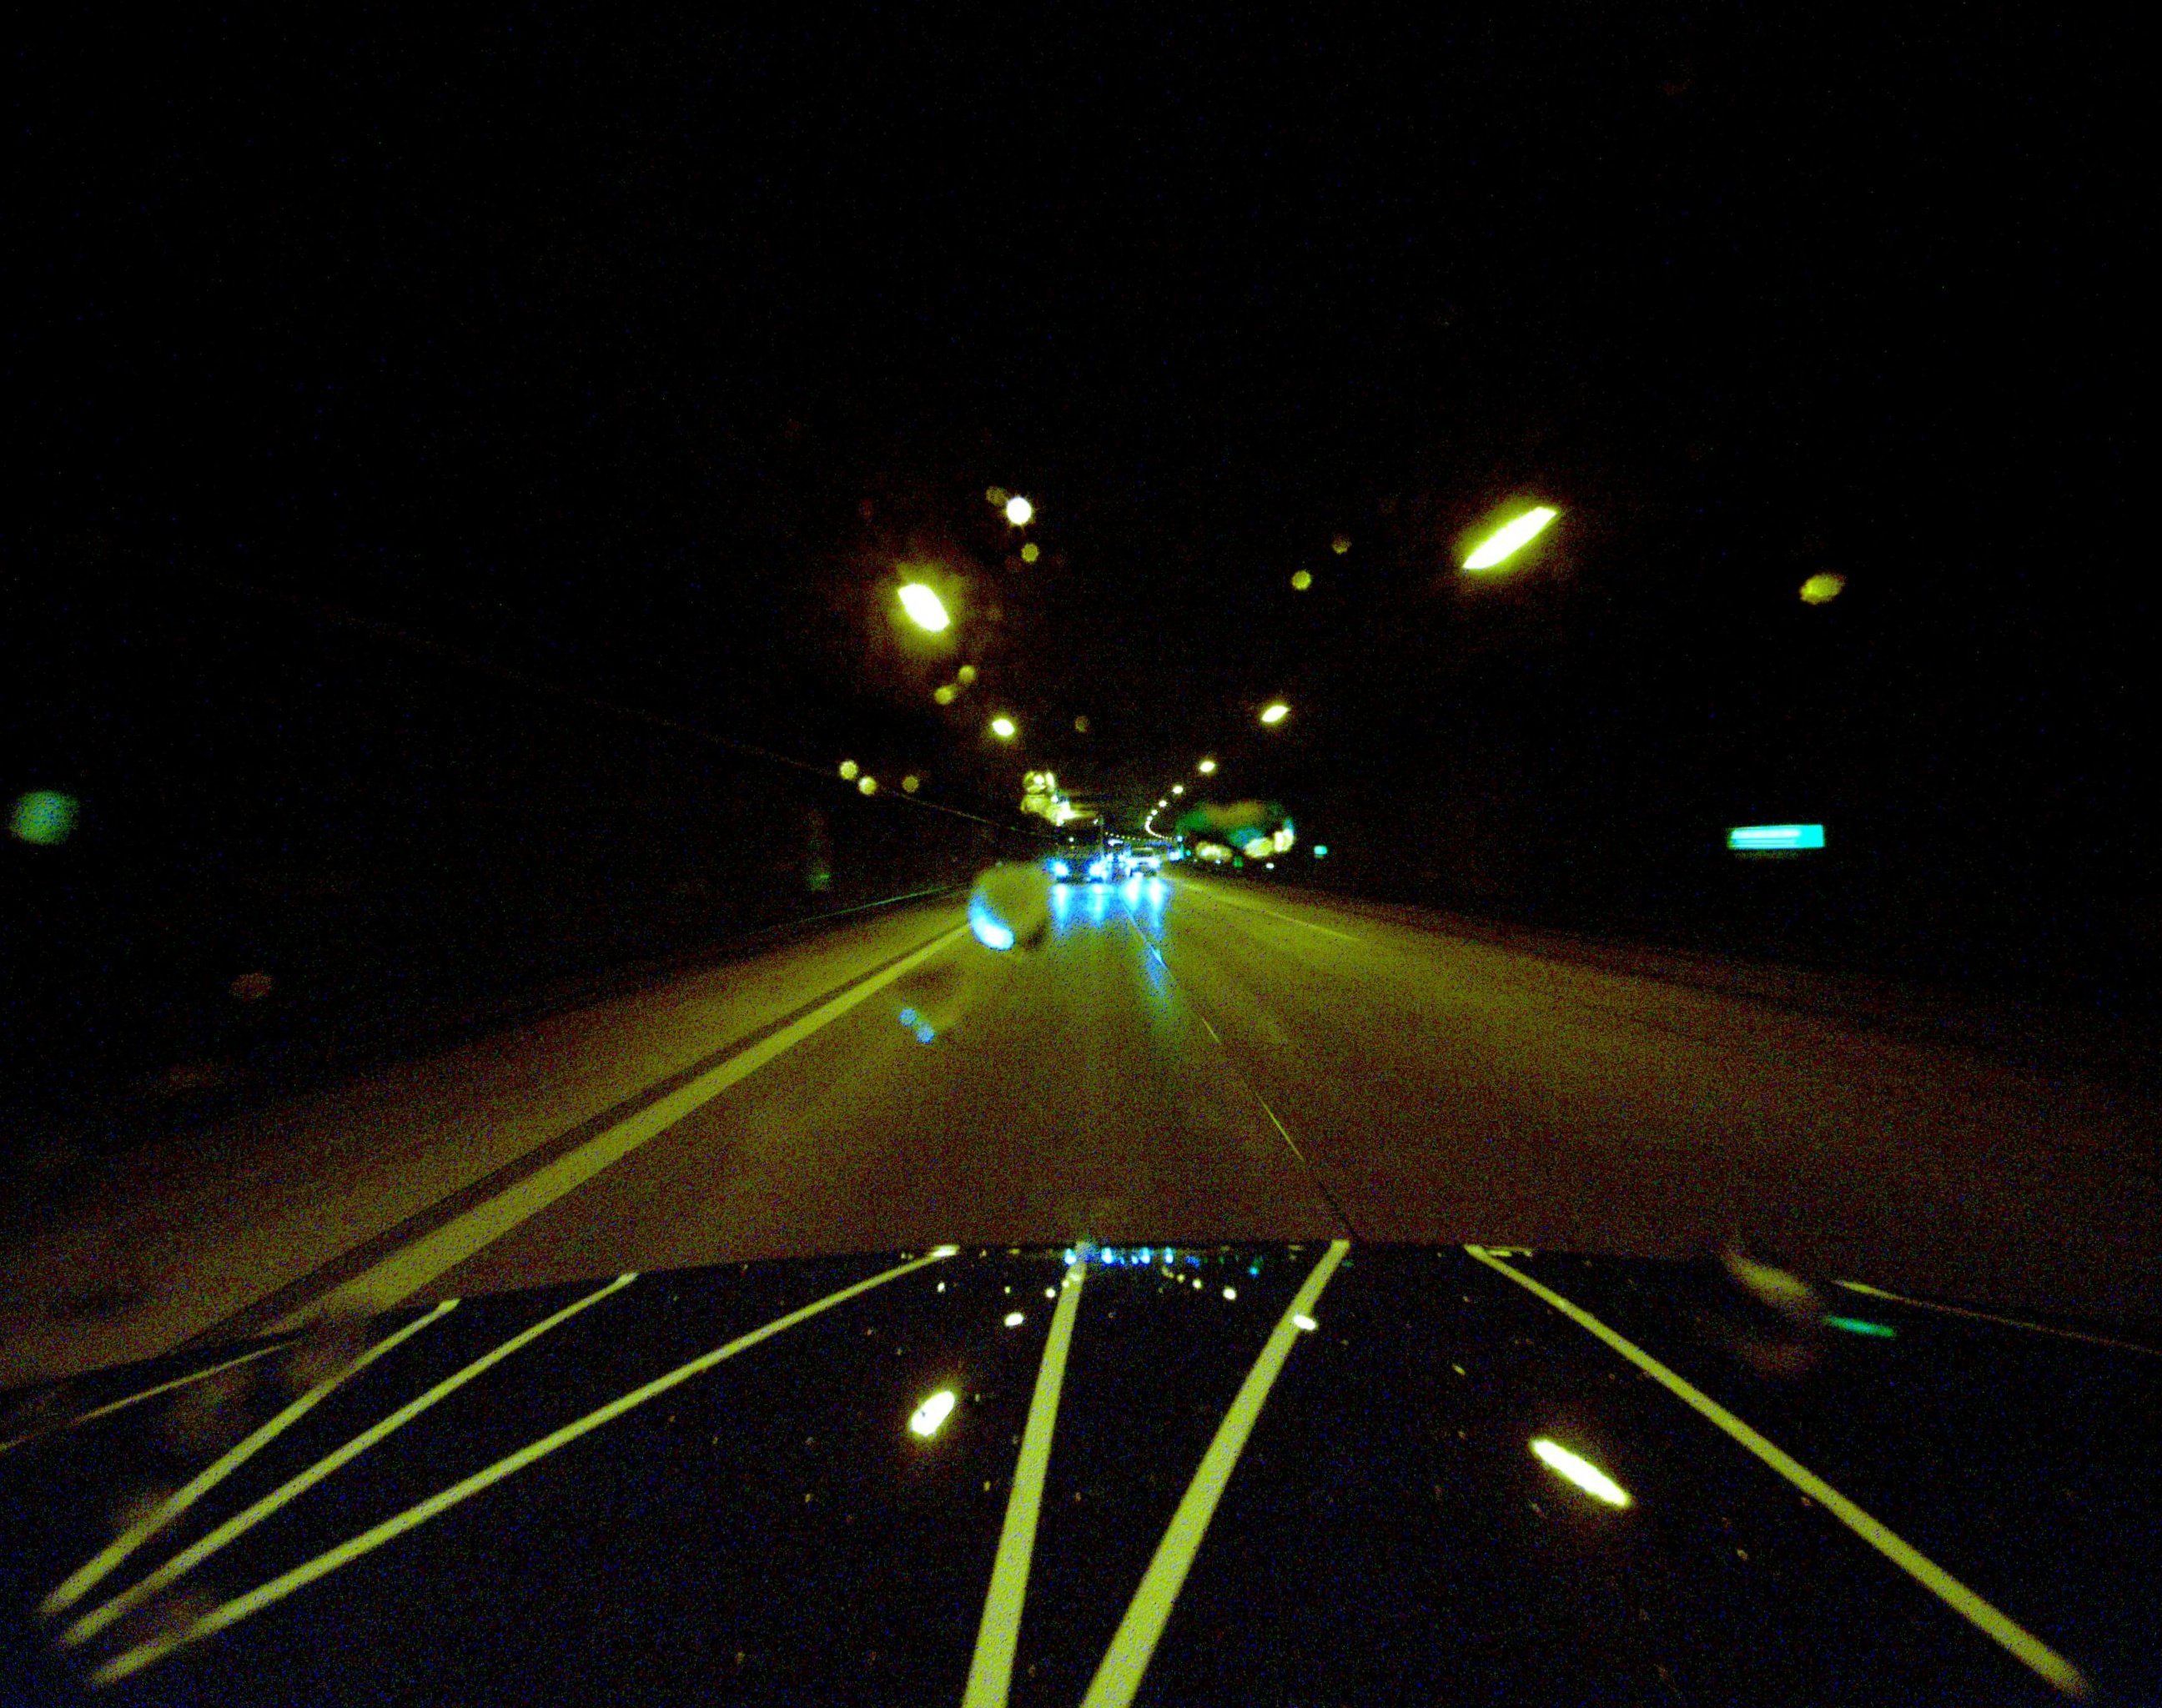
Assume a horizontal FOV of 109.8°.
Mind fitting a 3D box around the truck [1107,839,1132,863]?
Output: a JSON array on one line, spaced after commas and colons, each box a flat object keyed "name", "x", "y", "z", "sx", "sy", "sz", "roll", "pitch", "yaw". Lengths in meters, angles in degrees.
[{"name": "truck", "x": 6.436, "y": -0.573, "z": 126.465, "sx": 2.898, "sy": 3.819, "sz": 9.003, "roll": -1, "pitch": 1, "yaw": 10}]

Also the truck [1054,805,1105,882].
[{"name": "truck", "x": -0.008, "y": -0.582, "z": 44.436, "sx": 2.652, "sy": 4.139, "sz": 6.005, "roll": -1, "pitch": 1, "yaw": 2}]

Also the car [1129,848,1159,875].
[{"name": "car", "x": 4.539, "y": 0.518, "z": 55.285, "sx": 1.998, "sy": 1.890, "sz": 4.000, "roll": -1, "pitch": 0, "yaw": 2}]

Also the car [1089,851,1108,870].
[{"name": "car", "x": 1.749, "y": 0.641, "z": 76.662, "sx": 1.839, "sy": 1.849, "sz": 4.288, "roll": 1, "pitch": 1, "yaw": 1}]

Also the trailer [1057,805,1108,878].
[{"name": "trailer", "x": 0.341, "y": -0.752, "z": 50.672, "sx": 2.626, "sy": 4.139, "sz": 14.003, "roll": -2, "pitch": 0, "yaw": 3}]
